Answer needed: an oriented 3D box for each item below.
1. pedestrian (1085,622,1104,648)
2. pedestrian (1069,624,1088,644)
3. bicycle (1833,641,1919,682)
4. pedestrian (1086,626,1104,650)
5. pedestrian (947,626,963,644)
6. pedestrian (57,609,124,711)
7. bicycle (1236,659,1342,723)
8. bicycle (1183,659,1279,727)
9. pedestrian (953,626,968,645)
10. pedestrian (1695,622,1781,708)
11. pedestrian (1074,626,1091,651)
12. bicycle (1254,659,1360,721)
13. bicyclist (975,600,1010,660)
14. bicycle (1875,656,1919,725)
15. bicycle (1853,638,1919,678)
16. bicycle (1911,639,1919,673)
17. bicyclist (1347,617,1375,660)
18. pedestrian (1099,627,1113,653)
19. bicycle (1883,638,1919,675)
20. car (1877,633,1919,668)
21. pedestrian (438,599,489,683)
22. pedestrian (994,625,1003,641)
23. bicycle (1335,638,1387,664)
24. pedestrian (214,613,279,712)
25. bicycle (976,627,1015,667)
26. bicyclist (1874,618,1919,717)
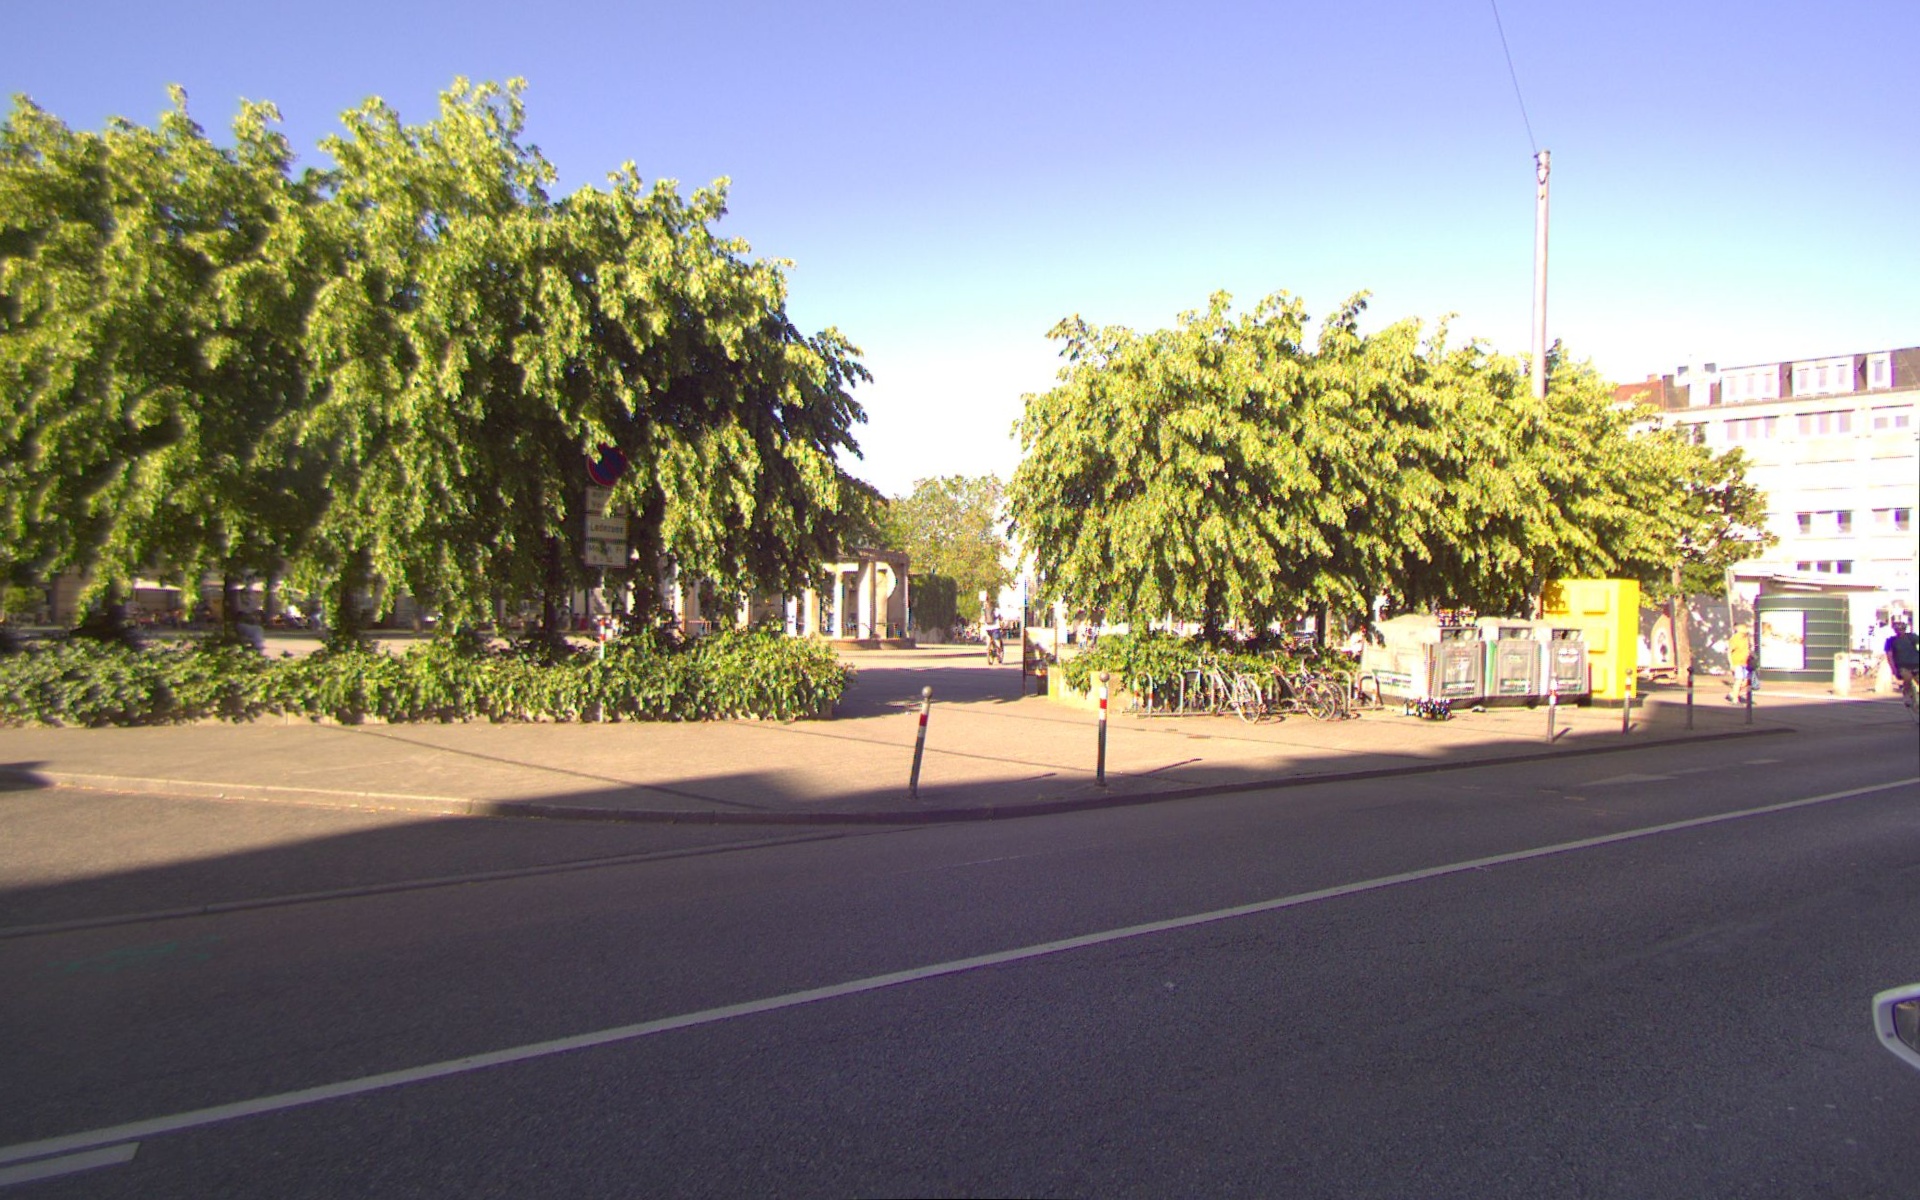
[{"bbox_3d":[10.163,2.633,75.672,1.274,1.867,1.103,2,0,13],"label":"pedestrian"},{"bbox_3d":[7.773,2.241,66.106,0.894,1.230,0.856,2,0,-42],"label":"pedestrian"},{"bbox_3d":[31.211,2.065,33.762,0.932,1.211,2.645,2,0,-32],"label":"bicycle"},{"bbox_3d":[9.029,2.557,67.144,1.003,1.541,1.036,2,0,15],"label":"pedestrian"},{"bbox_3d":[-0.432,2.937,84.568,0.867,1.497,0.940,2,0,42],"label":"pedestrian"},{"bbox_3d":[-12.868,0.872,14.882,0.615,1.456,0.647,2,0,-32],"label":"pedestrian"},{"bbox_3d":[5.265,1.444,16.183,0.465,0.870,1.659,2,0,-35],"label":"bicycle"},{"bbox_3d":[4.166,1.412,15.524,0.464,0.897,1.558,2,0,-29],"label":"bicycle"},{"bbox_3d":[0.029,2.944,83.678,0.867,1.557,0.894,2,0,33],"label":"pedestrian"},{"bbox_3d":[16.544,1.361,21.379,1.049,1.742,1.104,2,0,-30],"label":"pedestrian"},{"bbox_3d":[7.796,2.468,64.022,0.904,1.541,0.936,2,0,15],"label":"pedestrian"},{"bbox_3d":[5.664,1.455,16.478,0.465,0.870,1.654,2,0,-35],"label":"bicycle"},{"bbox_3d":[0.984,0.889,29.944,0.773,1.722,0.896,2,0,19],"label":"bicyclist"},{"bbox_3d":[17.077,1.603,18.031,0.608,1.177,1.952,-2,-4,33],"label":"bicycle"},{"bbox_3d":[33.134,2.041,35.065,0.923,1.291,2.764,2,0,-32],"label":"bicycle"},{"bbox_3d":[37.236,2.156,37.275,0.932,1.276,2.648,2,0,-32],"label":"bicycle"},{"bbox_3d":[13.456,1.296,33.733,0.566,1.399,0.706,2,-3,-17],"label":"bicyclist"},{"bbox_3d":[9.162,2.505,63.112,0.761,1.541,0.838,2,0,6],"label":"pedestrian"},{"bbox_3d":[35.252,2.085,36.131,0.932,1.287,2.859,2,0,-32],"label":"bicycle"},{"bbox_3d":[54.328,2.839,55.608,5.134,1.891,1.875,0,-1,40],"label":"car"},{"bbox_3d":[-9.471,0.773,19.158,0.688,1.541,0.676,2,0,-41],"label":"pedestrian"},{"bbox_3d":[3.996,3.432,104.570,0.744,1.557,0.673,2,0,-12],"label":"pedestrian"},{"bbox_3d":[13.439,1.716,33.721,0.571,0.834,1.853,1,-3,-17],"label":"bicycle"},{"bbox_3d":[-10.860,0.935,15.299,0.581,1.456,0.615,2,0,33],"label":"pedestrian"},{"bbox_3d":[1.091,1.384,30.217,0.593,1.116,1.989,2,0,19],"label":"bicycle"},{"bbox_3d":[17.115,1.205,18.162,0.692,1.732,0.807,-2,-2,35],"label":"bicyclist"}]
